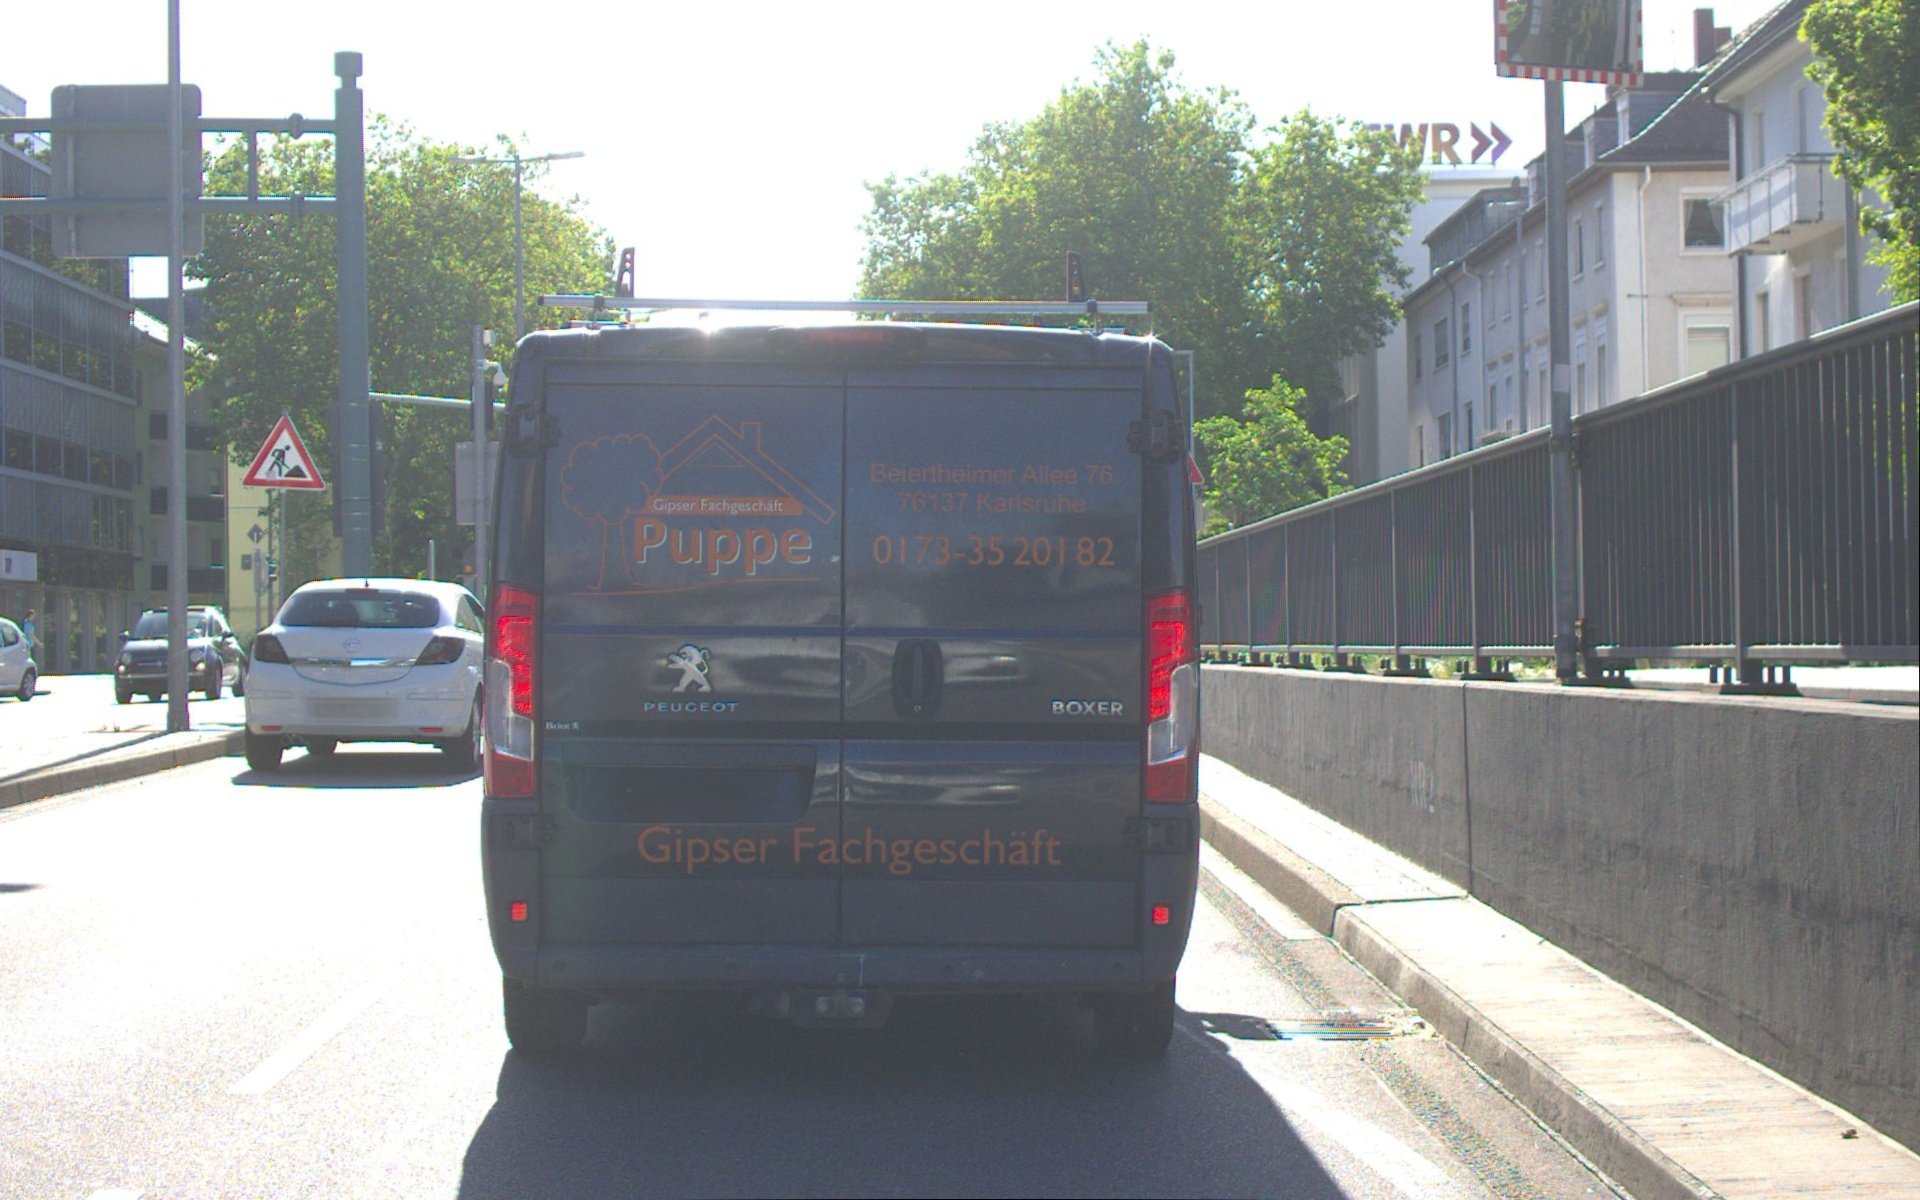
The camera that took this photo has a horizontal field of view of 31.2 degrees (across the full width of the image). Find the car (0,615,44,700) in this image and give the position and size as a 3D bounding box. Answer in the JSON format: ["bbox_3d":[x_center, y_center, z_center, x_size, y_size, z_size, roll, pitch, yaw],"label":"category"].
[{"bbox_3d":[-16.885,0.972,57.708,1.677,1.405,3.614,0,0,7],"label":"car"}]

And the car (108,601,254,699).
[{"bbox_3d":[-12.533,0.787,55.457,1.591,1.440,3.496,-3,0,-2],"label":"car"}]

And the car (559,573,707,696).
[{"bbox_3d":[-4.234,0.419,44.877,1.689,1.478,3.319,1,1,-2],"label":"car"}]

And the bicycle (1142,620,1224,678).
[{"bbox_3d":[4.415,0.968,68.193,1.566,1.114,0.570,1,0,-1],"label":"bicycle"}]

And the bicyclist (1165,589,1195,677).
[{"bbox_3d":[4.366,0.654,68.180,0.509,1.729,0.597,1,0,-1],"label":"bicyclist"}]

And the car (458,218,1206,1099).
[{"bbox_3d":[-0.387,0.156,11.343,2.030,2.394,3.973,0,0,-1],"label":"car"}]

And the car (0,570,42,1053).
[{"bbox_3d":[-3.686,0.651,8.156,1.808,1.434,5.003,1,1,-2],"label":"car"}]

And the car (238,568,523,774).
[{"bbox_3d":[-4.391,0.490,26.515,1.619,1.398,3.852,1,1,-1],"label":"car"}]
